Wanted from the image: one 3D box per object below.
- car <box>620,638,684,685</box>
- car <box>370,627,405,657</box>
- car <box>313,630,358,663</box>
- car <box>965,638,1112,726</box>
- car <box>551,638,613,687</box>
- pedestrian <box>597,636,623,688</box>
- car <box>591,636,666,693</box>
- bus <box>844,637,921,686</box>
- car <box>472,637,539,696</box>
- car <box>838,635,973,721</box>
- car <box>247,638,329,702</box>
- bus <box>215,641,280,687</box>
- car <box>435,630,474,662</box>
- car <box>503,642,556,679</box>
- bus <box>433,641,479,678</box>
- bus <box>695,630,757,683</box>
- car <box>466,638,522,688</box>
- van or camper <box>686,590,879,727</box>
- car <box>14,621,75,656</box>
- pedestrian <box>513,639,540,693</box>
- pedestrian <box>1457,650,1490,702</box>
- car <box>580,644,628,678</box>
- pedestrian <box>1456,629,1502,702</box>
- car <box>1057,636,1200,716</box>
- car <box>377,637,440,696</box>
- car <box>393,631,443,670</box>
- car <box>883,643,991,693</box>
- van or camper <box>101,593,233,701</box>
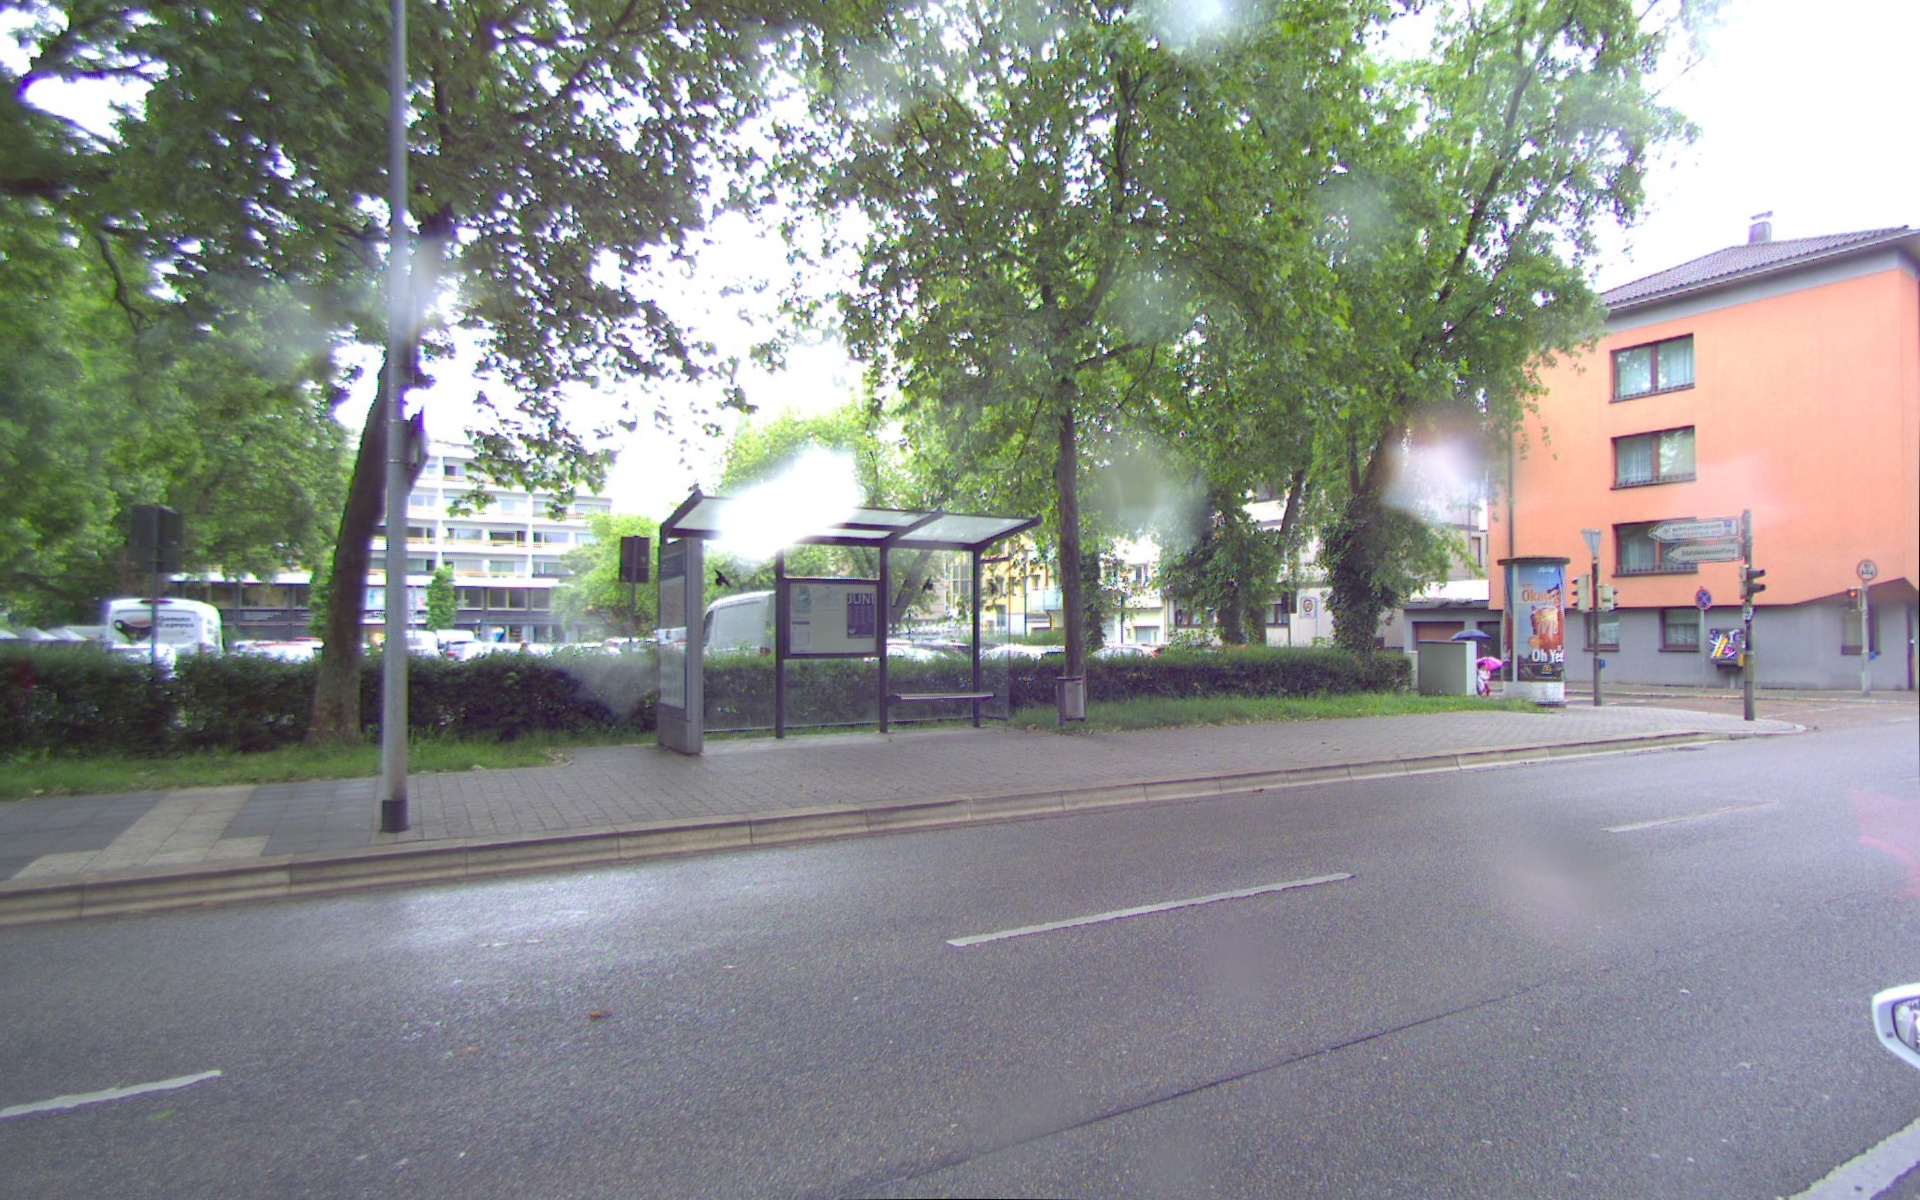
[{"bbox_3d":[-9.992,1.968,32.473,1.375,1.454,3.248,1,-3,-29],"label":"car"},{"bbox_3d":[-33.041,2.397,57.915,1.622,1.544,3.174,1,1,-32],"label":"car"},{"bbox_3d":[-31.419,2.310,50.583,1.818,1.444,3.799,2,0,-31],"label":"car"},{"bbox_3d":[1.585,1.657,21.169,1.492,1.544,3.174,2,0,-32],"label":"car"},{"bbox_3d":[-11.956,1.952,31.680,1.375,1.454,3.248,1,-3,-29],"label":"car"},{"bbox_3d":[-8.436,1.484,24.205,0.462,1.229,0.434,2,0,-37],"label":"pedestrian"},{"bbox_3d":[-9.110,1.738,27.504,1.375,1.454,3.248,1,-3,-29],"label":"car"},{"bbox_3d":[-2.461,1.898,31.547,1.364,1.451,2.777,2,-3,-30],"label":"bus"},{"bbox_3d":[-12.089,1.737,26.646,1.375,1.454,3.248,1,-3,-29],"label":"car"},{"bbox_3d":[-1.210,1.572,21.186,1.492,1.544,3.174,2,0,-32],"label":"car"},{"bbox_3d":[-16.509,1.684,24.788,1.375,1.454,3.248,1,-3,-29],"label":"car"},{"bbox_3d":[-25.539,2.272,36.080,1.587,1.559,3.403,2,-3,-30],"label":"bus"},{"bbox_3d":[-27.235,2.454,54.085,1.622,1.544,3.174,2,0,-32],"label":"car"},{"bbox_3d":[-17.694,2.451,41.237,1.587,1.447,3.293,2,-3,-30],"label":"car"},{"bbox_3d":[-22.370,2.608,44.570,1.587,1.559,3.403,2,-3,-30],"label":"bus"},{"bbox_3d":[-7.828,1.863,33.522,1.363,1.698,2.779,1,-3,-28],"label":"bus"},{"bbox_3d":[-14.541,1.940,31.280,1.375,1.454,3.248,1,-3,-29],"label":"car"},{"bbox_3d":[-3.428,1.055,18.692,2.026,2.198,4.458,2,-3,-32],"label":"van or camper"},{"bbox_3d":[-40.909,1.689,44.933,1.412,1.447,2.941,1,0,-30],"label":"car"},{"bbox_3d":[-10.200,1.536,23.622,0.462,1.229,0.434,2,0,-37],"label":"pedestrian"},{"bbox_3d":[12.632,1.860,24.705,0.674,1.190,0.825,1,0,30],"label":"pedestrian"},{"bbox_3d":[-15.195,2.577,42.828,1.332,1.401,3.141,2,-3,-30],"label":"car"},{"bbox_3d":[13.246,1.652,25.626,0.977,1.765,1.207,1,0,30],"label":"pedestrian"},{"bbox_3d":[3.806,1.682,23.040,1.492,1.544,3.174,2,0,-32],"label":"car"},{"bbox_3d":[-14.732,1.745,26.849,1.375,1.454,3.248,1,-3,-29],"label":"car"},{"bbox_3d":[-20.899,1.943,38.687,1.587,1.447,3.293,2,-3,-30],"label":"car"},{"bbox_3d":[-0.832,2.223,33.517,1.799,1.536,3.965,2,-3,-33],"label":"car"},{"bbox_3d":[-20.697,1.240,26.421,2.074,2.570,4.392,1,-3,-30],"label":"van or camper"}]
